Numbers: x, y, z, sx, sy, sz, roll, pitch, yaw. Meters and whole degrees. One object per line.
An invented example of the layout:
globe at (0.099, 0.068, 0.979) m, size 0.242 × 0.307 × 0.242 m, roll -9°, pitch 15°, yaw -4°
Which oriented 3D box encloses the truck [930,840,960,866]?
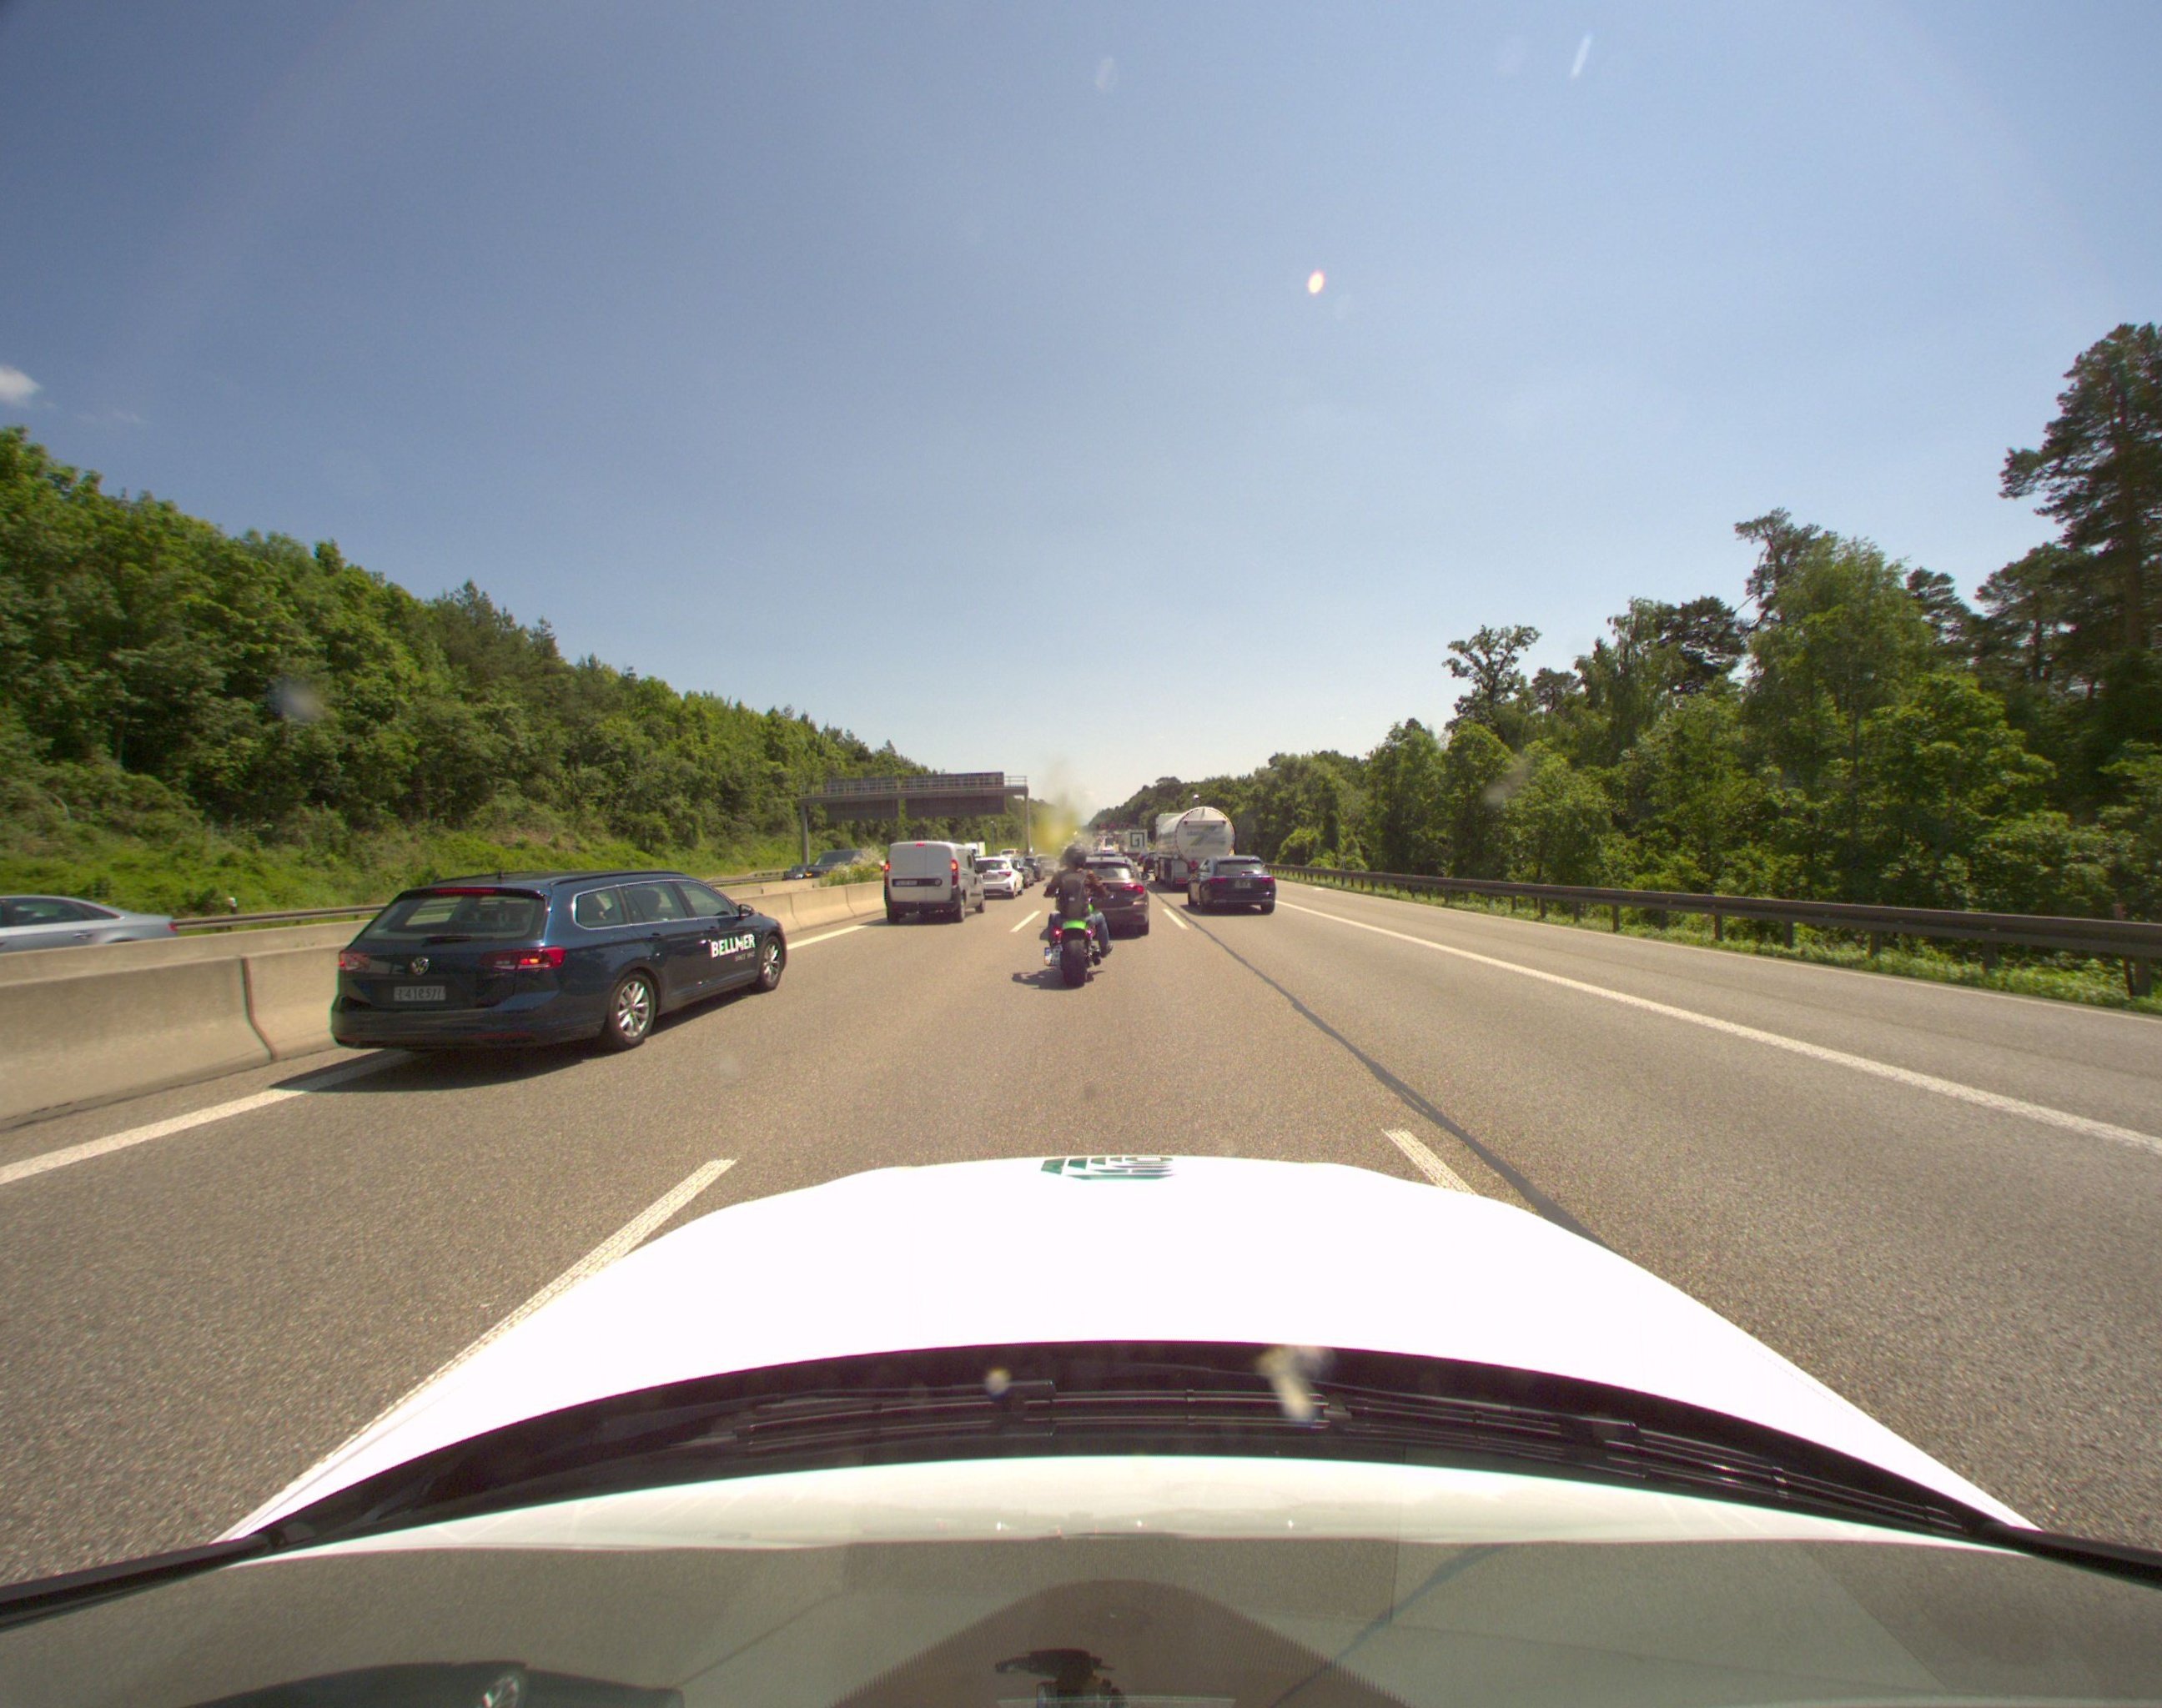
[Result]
truck at (-15.471, -0.076, 93.150) m, size 2.170 × 2.885 × 6.744 m, roll -1°, pitch -1°, yaw 1°

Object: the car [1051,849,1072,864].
car at (-1.862, 0.265, 78.869) m, size 1.757 × 1.442 × 4.002 m, roll -1°, pitch -1°, yaw 2°

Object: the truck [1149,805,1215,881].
truck at (5.175, -0.494, 42.696) m, size 2.817 × 3.671 × 6.432 m, roll -1°, pitch -1°, yaw 2°

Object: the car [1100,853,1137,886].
car at (2.111, 0.894, 46.281) m, size 1.986 × 1.775 × 4.000 m, roll -1°, pitch -1°, yaw 1°

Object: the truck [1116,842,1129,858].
truck at (5.772, -0.573, 113.114) m, size 1.584 × 2.111 × 3.755 m, roll -1°, pitch -1°, yaw 4°

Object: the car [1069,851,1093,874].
car at (0.012, 0.776, 74.581) m, size 1.986 × 2.014 × 4.001 m, roll -1°, pitch -1°, yaw 2°

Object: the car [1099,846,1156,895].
car at (1.697, 0.621, 30.689) m, size 1.986 × 1.711 × 4.000 m, roll -1°, pitch -1°, yaw 1°

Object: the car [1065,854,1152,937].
car at (0.561, 0.744, 16.458) m, size 1.535 × 1.450 × 4.002 m, roll -1°, pitch 0°, yaw 2°

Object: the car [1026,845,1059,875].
car at (-2.658, 0.438, 57.046) m, size 1.986 × 2.014 × 4.001 m, roll -1°, pitch -1°, yaw 1°

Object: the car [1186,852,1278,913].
car at (3.990, 0.732, 22.194) m, size 1.785 × 1.458 × 4.626 m, roll -1°, pitch -1°, yaw 2°

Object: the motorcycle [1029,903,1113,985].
motorcycle at (-0.071, 1.081, 10.336) m, size 0.932 × 0.793 × 2.300 m, roll -1°, pitch 0°, yaw 2°

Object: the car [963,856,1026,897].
car at (-3.122, 0.809, 30.129) m, size 1.769 × 1.411 × 4.001 m, roll -1°, pitch -1°, yaw 2°

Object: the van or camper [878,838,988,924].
van or camper at (-3.543, 0.577, 20.337) m, size 1.846 × 1.880 × 4.562 m, roll -1°, pitch 0°, yaw 1°

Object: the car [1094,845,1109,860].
car at (2.839, -0.213, 113.506) m, size 1.986 × 2.013 × 4.002 m, roll -2°, pitch 0°, yaw 2°

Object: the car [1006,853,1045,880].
car at (-3.104, 0.729, 46.397) m, size 1.988 × 1.464 × 3.998 m, roll -1°, pitch -1°, yaw -1°

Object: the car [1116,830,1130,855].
car at (7.141, -1.856, 138.942) m, size 2.159 × 3.893 × 9.333 m, roll -1°, pitch -1°, yaw 2°

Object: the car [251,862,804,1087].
car at (-4.425, 0.813, 7.664) m, size 1.867 × 1.450 × 4.680 m, roll -1°, pitch -1°, yaw 2°

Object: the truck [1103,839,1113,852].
truck at (8.008, -2.438, 238.700) m, size 2.686 × 3.405 × 10.483 m, roll -2°, pitch 0°, yaw 2°

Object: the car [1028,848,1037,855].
car at (-13.686, -0.655, 230.018) m, size 1.893 × 2.013 × 4.002 m, roll -2°, pitch 0°, yaw 2°

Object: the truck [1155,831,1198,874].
truck at (7.009, -0.099, 60.824) m, size 2.380 × 2.979 × 8.254 m, roll -1°, pitch 0°, yaw 1°

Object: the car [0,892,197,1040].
car at (-14.360, 1.429, 10.040) m, size 1.986 × 1.763 × 4.452 m, roll -1°, pitch -1°, yaw 1°

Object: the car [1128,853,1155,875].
car at (4.420, 0.767, 59.741) m, size 1.769 × 1.527 × 4.001 m, roll -1°, pitch -1°, yaw 2°

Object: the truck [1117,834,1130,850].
truck at (9.596, -2.631, 186.336) m, size 2.686 × 3.405 × 10.483 m, roll -2°, pitch 0°, yaw 2°

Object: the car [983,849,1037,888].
car at (-3.243, 0.677, 38.219) m, size 1.986 × 1.684 × 4.332 m, roll -1°, pitch -1°, yaw 2°

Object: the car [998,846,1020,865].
car at (-8.157, 0.181, 92.639) m, size 1.985 × 2.014 × 4.003 m, roll -1°, pitch -1°, yaw 3°

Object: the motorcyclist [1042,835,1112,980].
motorcyclist at (-0.030, 0.637, 10.033) m, size 0.796 × 1.688 × 1.017 m, roll -1°, pitch -1°, yaw 2°

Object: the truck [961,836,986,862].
truck at (-17.383, -0.801, 132.661) m, size 2.682 × 3.990 × 7.993 m, roll -1°, pitch -1°, yaw 2°

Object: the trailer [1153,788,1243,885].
trailer at (4.949, -0.594, 36.553) m, size 2.817 × 3.671 × 10.736 m, roll -1°, pitch -1°, yaw 2°

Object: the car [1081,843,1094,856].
car at (1.076, -0.778, 135.824) m, size 1.986 × 2.013 × 4.002 m, roll -2°, pitch 0°, yaw 2°

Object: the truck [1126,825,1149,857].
truck at (7.356, -1.601, 105.930) m, size 2.840 × 3.821 × 7.196 m, roll -1°, pitch -1°, yaw 5°

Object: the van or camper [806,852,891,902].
van or camper at (-9.956, 0.957, 35.305) m, size 1.985 × 2.014 × 4.932 m, roll -1°, pitch -1°, yaw 4°

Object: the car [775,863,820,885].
car at (-20.104, 1.410, 57.891) m, size 1.924 × 1.485 × 3.542 m, roll -1°, pitch -1°, yaw 0°

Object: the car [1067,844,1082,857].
car at (-0.850, -0.398, 103.216) m, size 1.654 × 1.599 × 4.002 m, roll -1°, pitch -1°, yaw 2°

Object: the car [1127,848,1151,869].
car at (5.576, 0.478, 78.860) m, size 1.987 × 2.014 × 4.000 m, roll -1°, pitch -1°, yaw 0°

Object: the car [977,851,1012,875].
car at (-5.735, 0.589, 54.362) m, size 1.818 × 1.494 × 4.001 m, roll -1°, pitch 0°, yaw 1°
